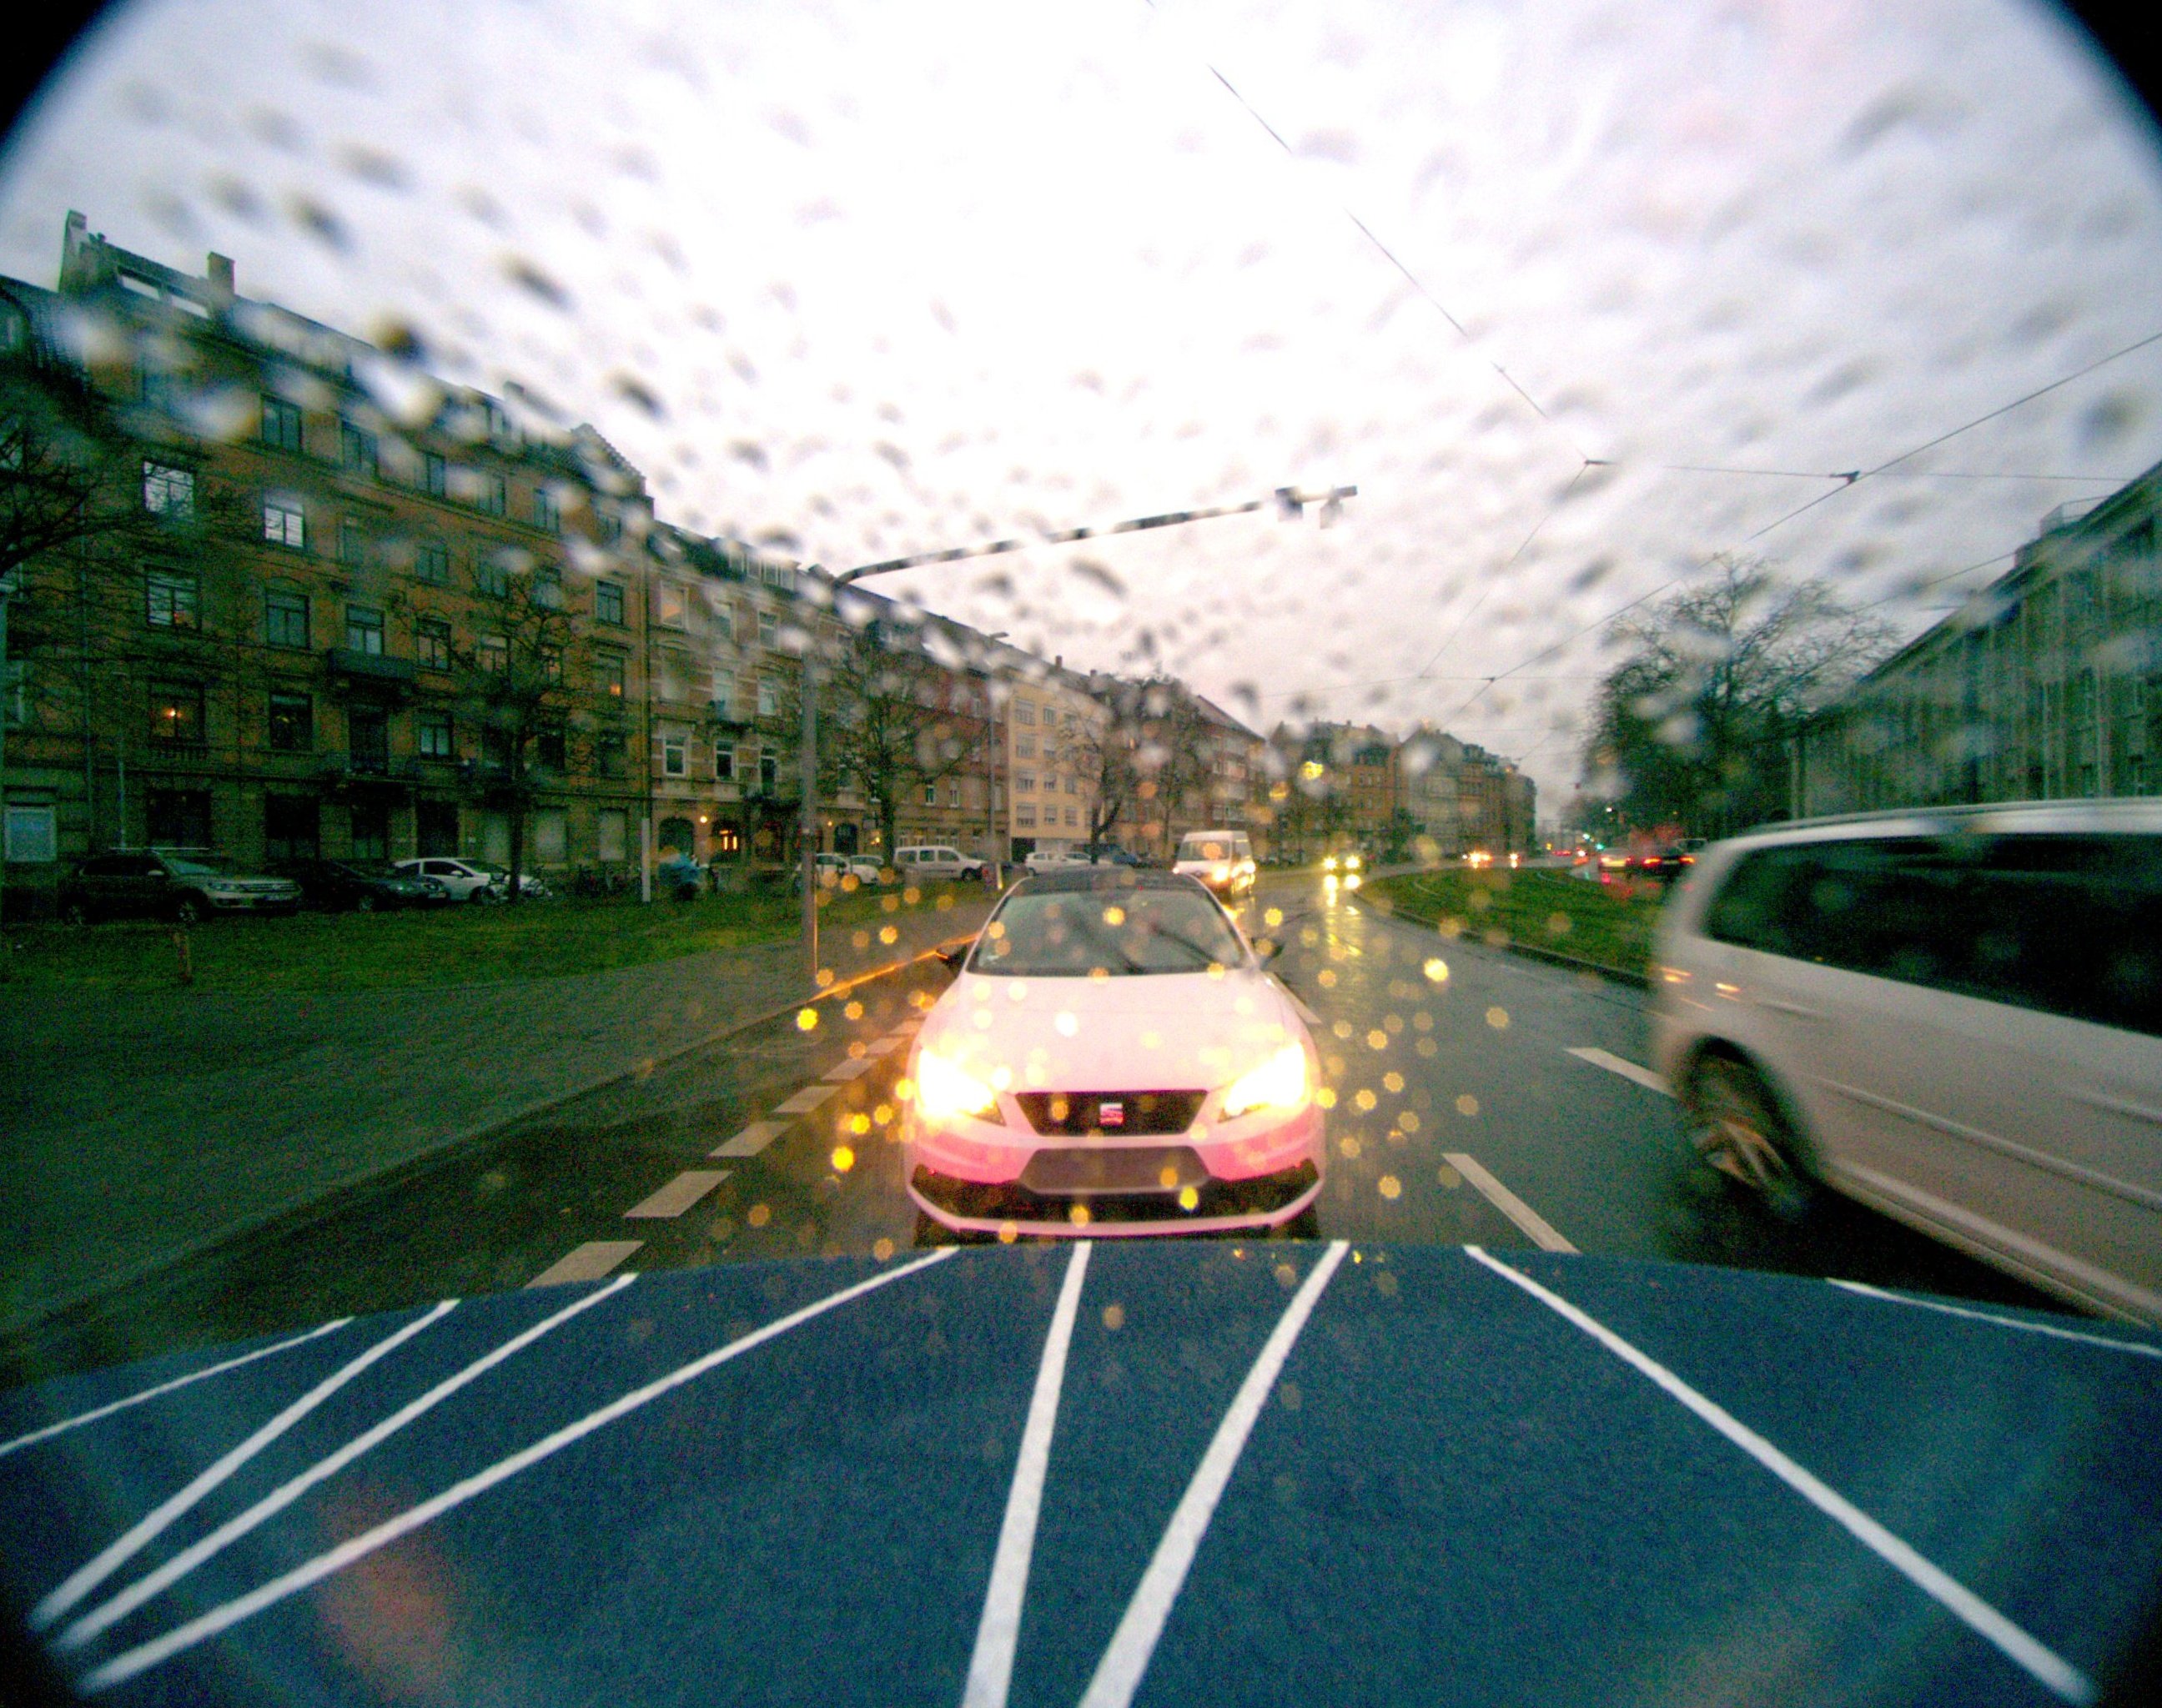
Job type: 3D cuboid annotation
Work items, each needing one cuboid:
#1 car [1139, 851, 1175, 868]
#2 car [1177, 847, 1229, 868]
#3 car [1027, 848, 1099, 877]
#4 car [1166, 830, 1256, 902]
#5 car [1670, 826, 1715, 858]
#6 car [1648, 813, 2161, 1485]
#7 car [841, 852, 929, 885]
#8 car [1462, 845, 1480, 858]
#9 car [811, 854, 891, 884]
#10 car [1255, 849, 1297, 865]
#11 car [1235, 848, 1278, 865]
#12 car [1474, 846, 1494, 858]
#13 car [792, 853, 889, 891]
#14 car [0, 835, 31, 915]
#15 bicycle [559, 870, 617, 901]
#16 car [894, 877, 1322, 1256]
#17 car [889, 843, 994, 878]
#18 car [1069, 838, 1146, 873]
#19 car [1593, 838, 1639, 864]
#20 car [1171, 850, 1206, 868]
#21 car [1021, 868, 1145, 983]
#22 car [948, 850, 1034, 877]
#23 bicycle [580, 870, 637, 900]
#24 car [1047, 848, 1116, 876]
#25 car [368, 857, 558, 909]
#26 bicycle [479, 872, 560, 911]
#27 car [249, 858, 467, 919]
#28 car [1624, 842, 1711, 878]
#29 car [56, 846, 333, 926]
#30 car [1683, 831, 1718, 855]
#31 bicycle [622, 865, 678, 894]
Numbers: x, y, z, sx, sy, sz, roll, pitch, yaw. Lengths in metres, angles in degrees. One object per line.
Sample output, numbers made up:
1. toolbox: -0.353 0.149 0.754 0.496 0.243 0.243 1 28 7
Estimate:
1. car: 7.052 0.493 70.526 1.470 1.534 3.880 0 1 38
2. car: 9.592 0.298 59.839 3.869 1.397 1.695 -3 0 6
3. car: -1.012 0.485 43.709 3.770 1.424 1.762 -3 0 9
4. car: 4.945 0.385 28.175 2.126 2.366 5.646 -2 0 21
5. car: 41.918 -0.858 52.205 1.995 2.002 4.518 -3 0 35
6. car: 3.462 0.703 1.557 1.674 1.650 4.149 -3 0 5
7. car: -8.758 0.643 34.152 3.430 1.343 1.664 -2 0 2
8. car: 50.748 -0.357 98.789 1.719 1.608 3.946 -1 0 32
9. car: -12.648 0.801 42.010 1.733 1.492 4.058 -3 -1 32
10. car: 18.525 0.305 72.283 3.760 1.346 1.603 -3 0 11
11. car: 15.940 0.232 69.150 3.760 1.346 1.603 -3 0 11
12. car: 48.468 -0.207 91.438 1.892 1.405 3.954 -1 0 31
13. car: -9.997 0.739 31.727 3.462 1.435 1.615 -2 0 6
14. car: -29.151 0.545 17.931 1.994 2.002 4.997 1 1 33
15. bicycle: -16.150 1.044 24.868 2.165 0.960 0.627 -2 -2 28
16. car: 0.194 0.954 5.007 1.714 1.404 3.680 -3 0 3
17. car: -6.669 0.298 36.554 4.659 1.583 1.778 1 1 3
18. car: 1.672 0.109 48.569 4.720 1.971 1.799 -2 0 -2
19. car: 33.281 -0.203 47.357 1.822 1.426 4.663 -3 0 29
20. car: 10.750 0.488 75.765 1.690 1.534 4.008 -3 0 38
21. car: 0.131 0.965 11.443 1.589 1.418 3.135 -1 0 4
22. car: -4.547 0.492 38.745 4.058 1.227 1.771 1 0 6
23. bicycle: -15.864 1.057 25.490 2.165 0.960 0.627 -2 -2 28
24. car: 0.013 0.471 45.803 3.998 1.406 1.641 -3 0 -2
25. car: -17.142 0.775 21.209 3.856 1.329 1.698 -1 0 -1
26. bicycle: -14.423 0.944 19.573 1.655 0.931 0.513 0 0 -35
27. car: -17.880 0.829 18.927 3.742 1.346 1.677 -2 -1 -2
28. car: 25.710 0.211 33.506 1.659 1.392 4.529 -3 0 20
29. car: -19.423 0.647 16.780 3.996 1.627 1.944 0 1 4
30. car: 39.325 -0.700 48.291 1.557 1.420 2.960 -1 1 36
31. bicycle: -15.003 0.867 26.434 2.165 0.960 0.627 0 1 28
